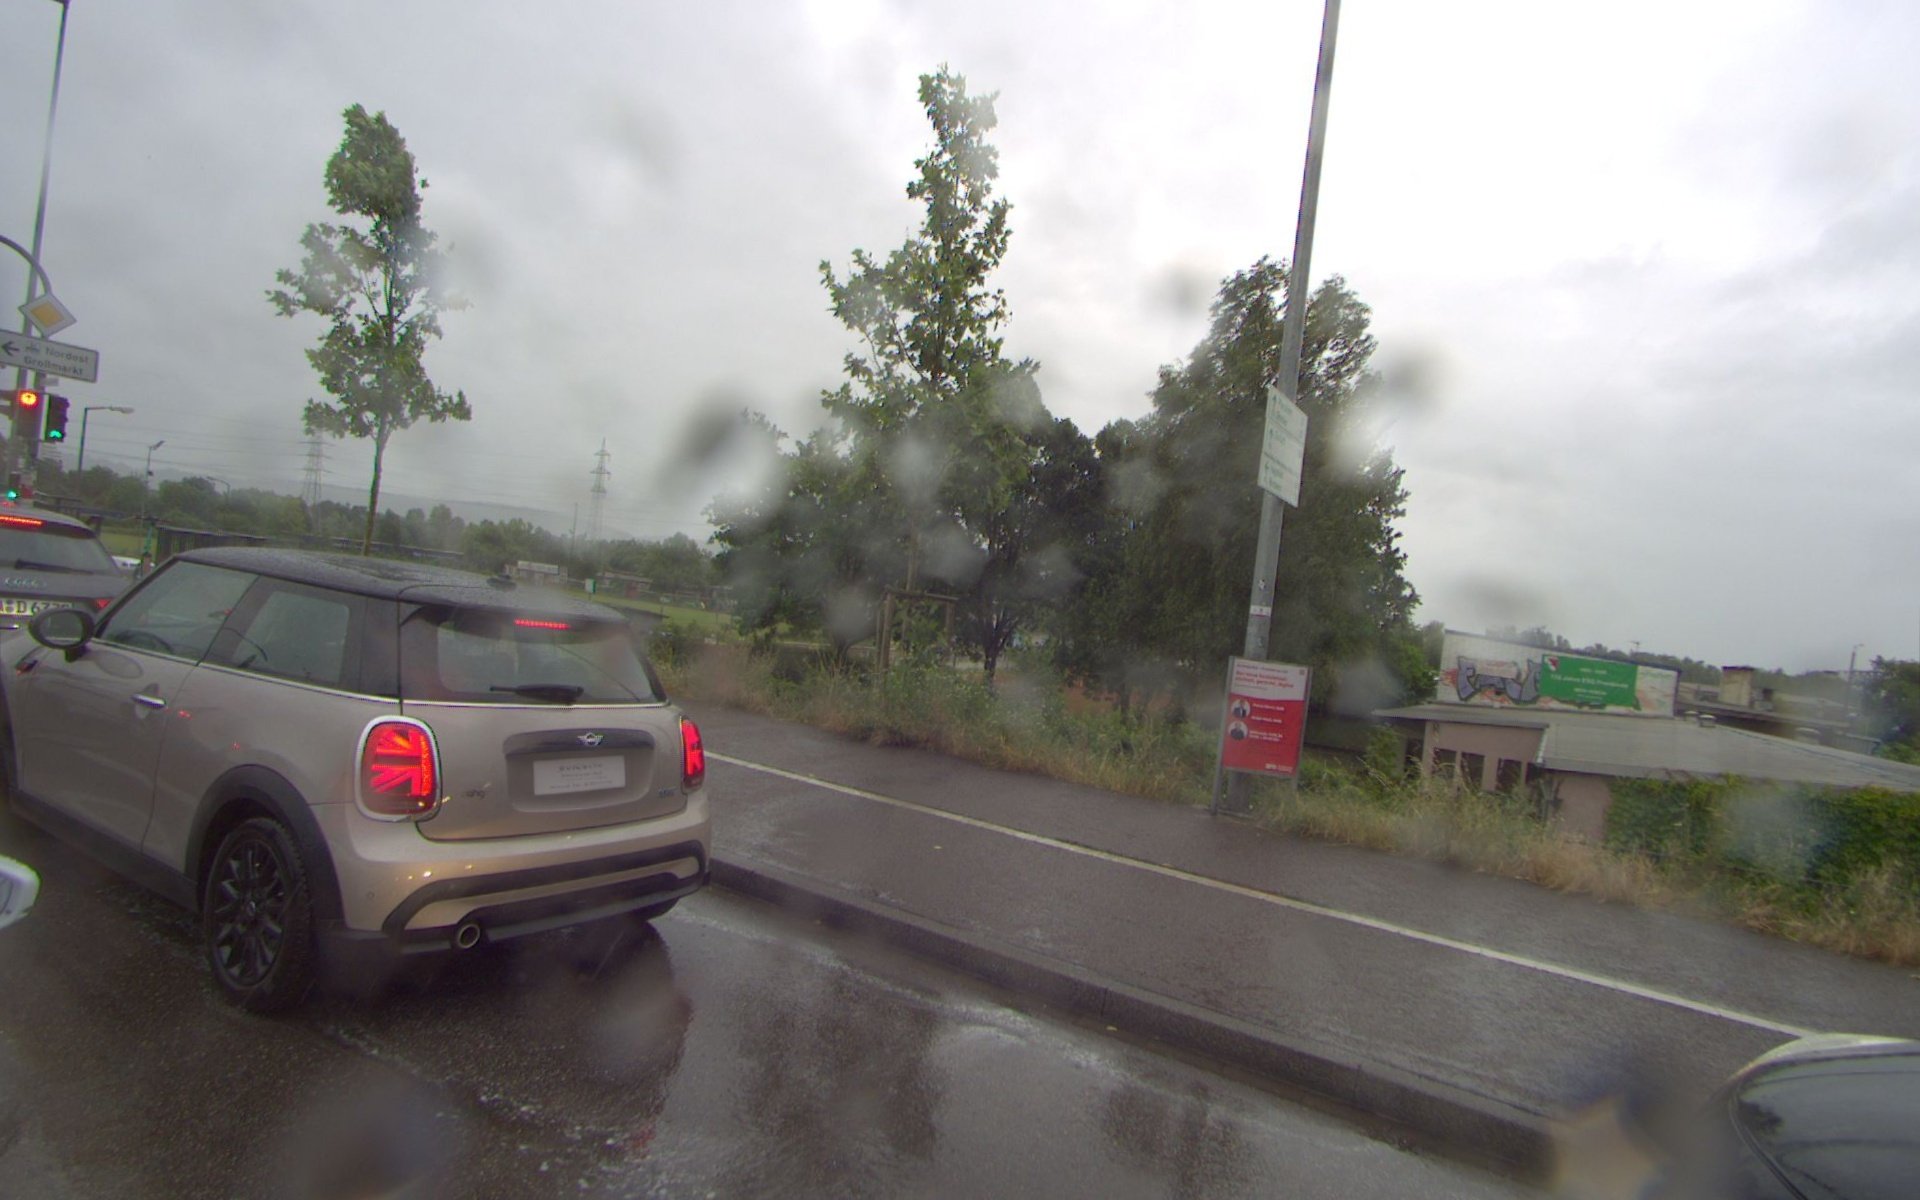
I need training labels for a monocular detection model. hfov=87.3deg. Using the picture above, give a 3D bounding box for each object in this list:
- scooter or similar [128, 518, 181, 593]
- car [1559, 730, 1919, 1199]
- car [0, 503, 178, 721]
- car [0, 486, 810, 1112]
[{"bbox_3d":[-13.645,-0.763,17.034,1.167,1.171,0.246,6,-1,33],"label":"scooter or similar"},{"bbox_3d":[2.778,1.174,1.056,3.563,1.445,1.632,7,-1,31],"label":"car"},{"bbox_3d":[-7.478,-0.082,7.238,3.563,1.360,1.632,6,-2,31],"label":"car"},{"bbox_3d":[-2.657,0.489,4.294,3.563,1.525,1.717,7,-2,31],"label":"car"}]
